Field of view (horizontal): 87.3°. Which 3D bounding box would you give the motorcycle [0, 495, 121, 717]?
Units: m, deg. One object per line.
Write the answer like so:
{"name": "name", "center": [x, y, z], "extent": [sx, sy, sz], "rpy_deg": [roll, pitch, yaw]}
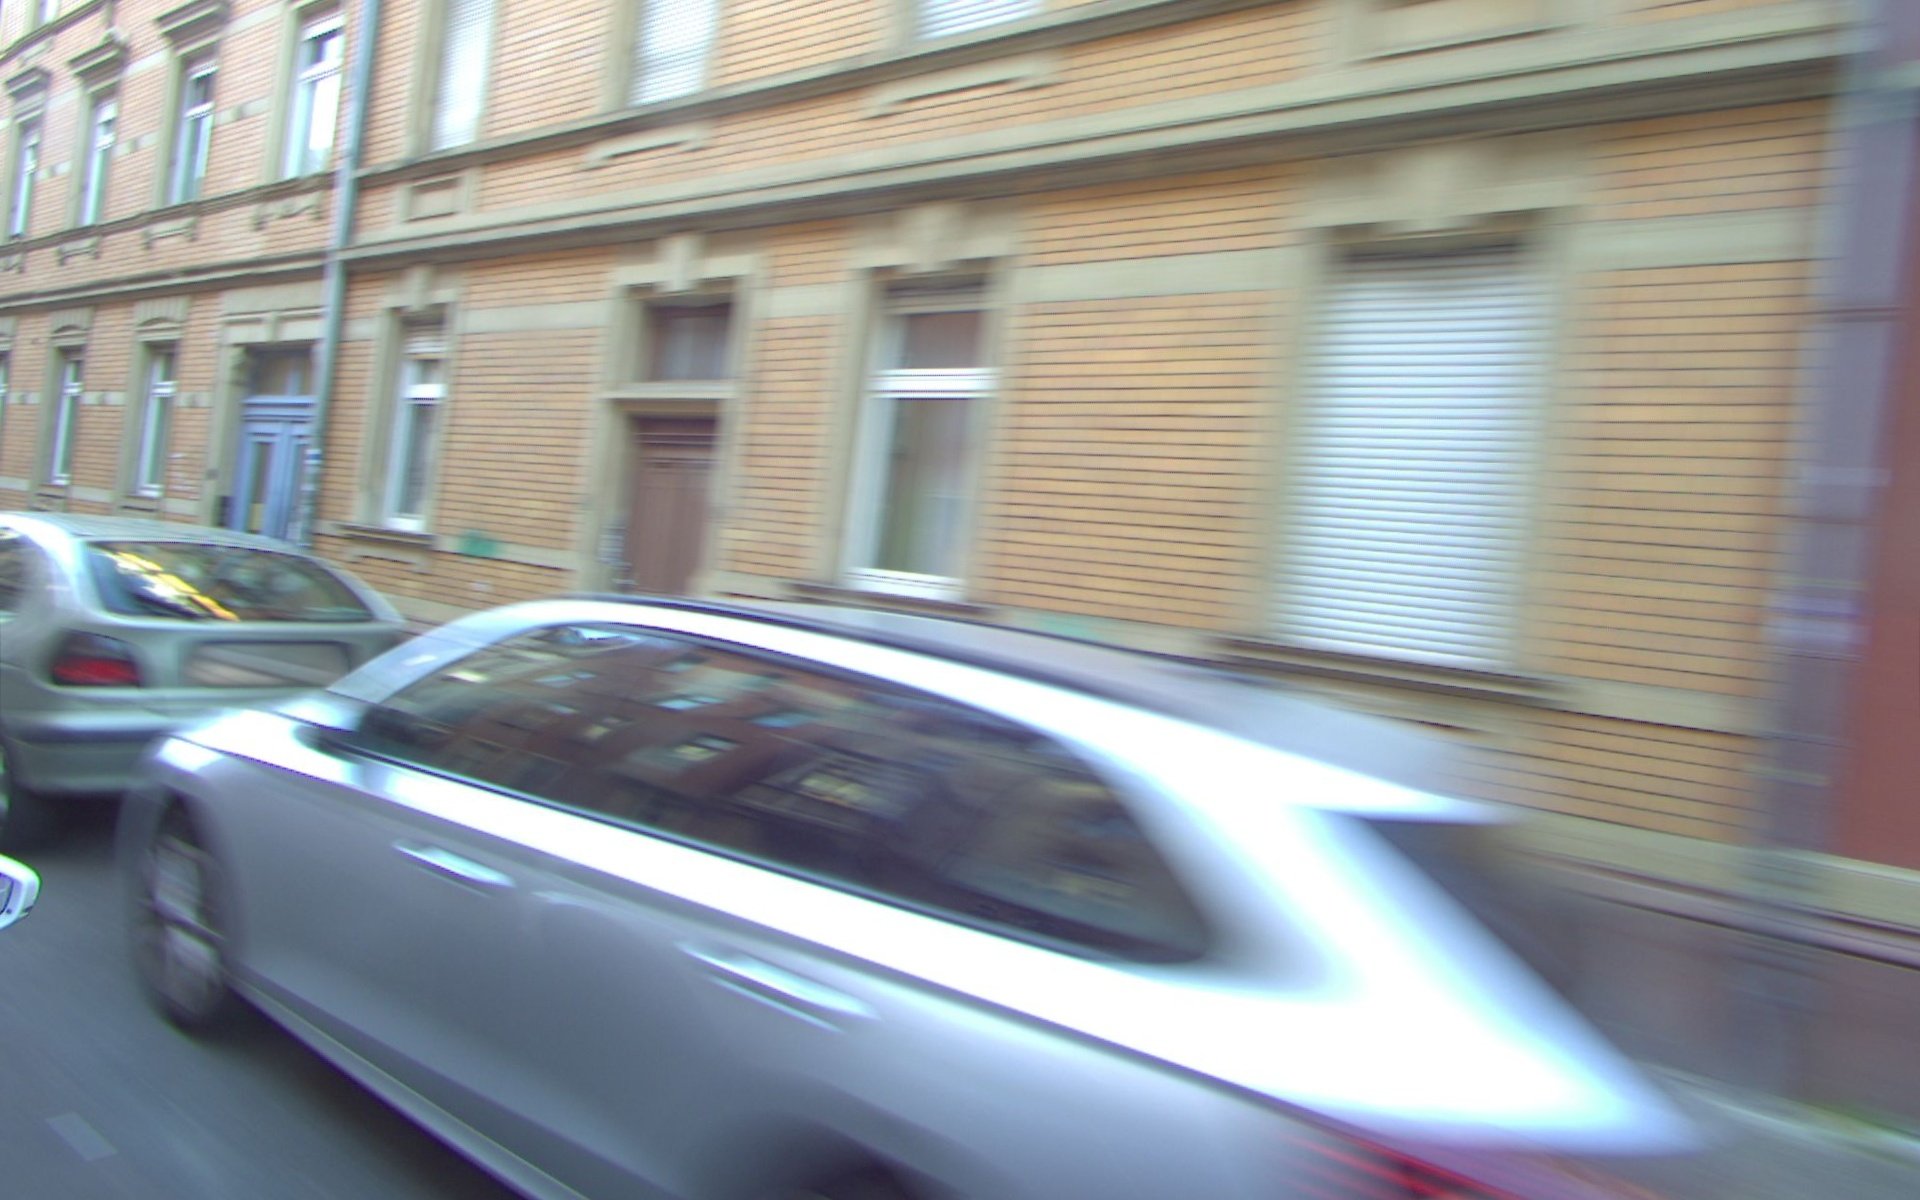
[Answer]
{"name": "motorcycle", "center": [-7.189, -0.032, 6.760], "extent": [0.873, 1.553, 2.230], "rpy_deg": [8, -2, 6]}

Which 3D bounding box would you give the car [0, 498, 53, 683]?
{"name": "car", "center": [-9.564, -0.350, 8.422], "extent": [4.246, 1.414, 1.780], "rpy_deg": [8, 0, 32]}

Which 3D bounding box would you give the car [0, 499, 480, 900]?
{"name": "car", "center": [-4.643, 0.268, 5.536], "extent": [3.926, 1.423, 1.694], "rpy_deg": [8, 0, 33]}

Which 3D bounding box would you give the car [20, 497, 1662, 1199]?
{"name": "car", "center": [-0.757, 0.713, 2.909], "extent": [4.329, 1.502, 1.764], "rpy_deg": [8, 0, 33]}
